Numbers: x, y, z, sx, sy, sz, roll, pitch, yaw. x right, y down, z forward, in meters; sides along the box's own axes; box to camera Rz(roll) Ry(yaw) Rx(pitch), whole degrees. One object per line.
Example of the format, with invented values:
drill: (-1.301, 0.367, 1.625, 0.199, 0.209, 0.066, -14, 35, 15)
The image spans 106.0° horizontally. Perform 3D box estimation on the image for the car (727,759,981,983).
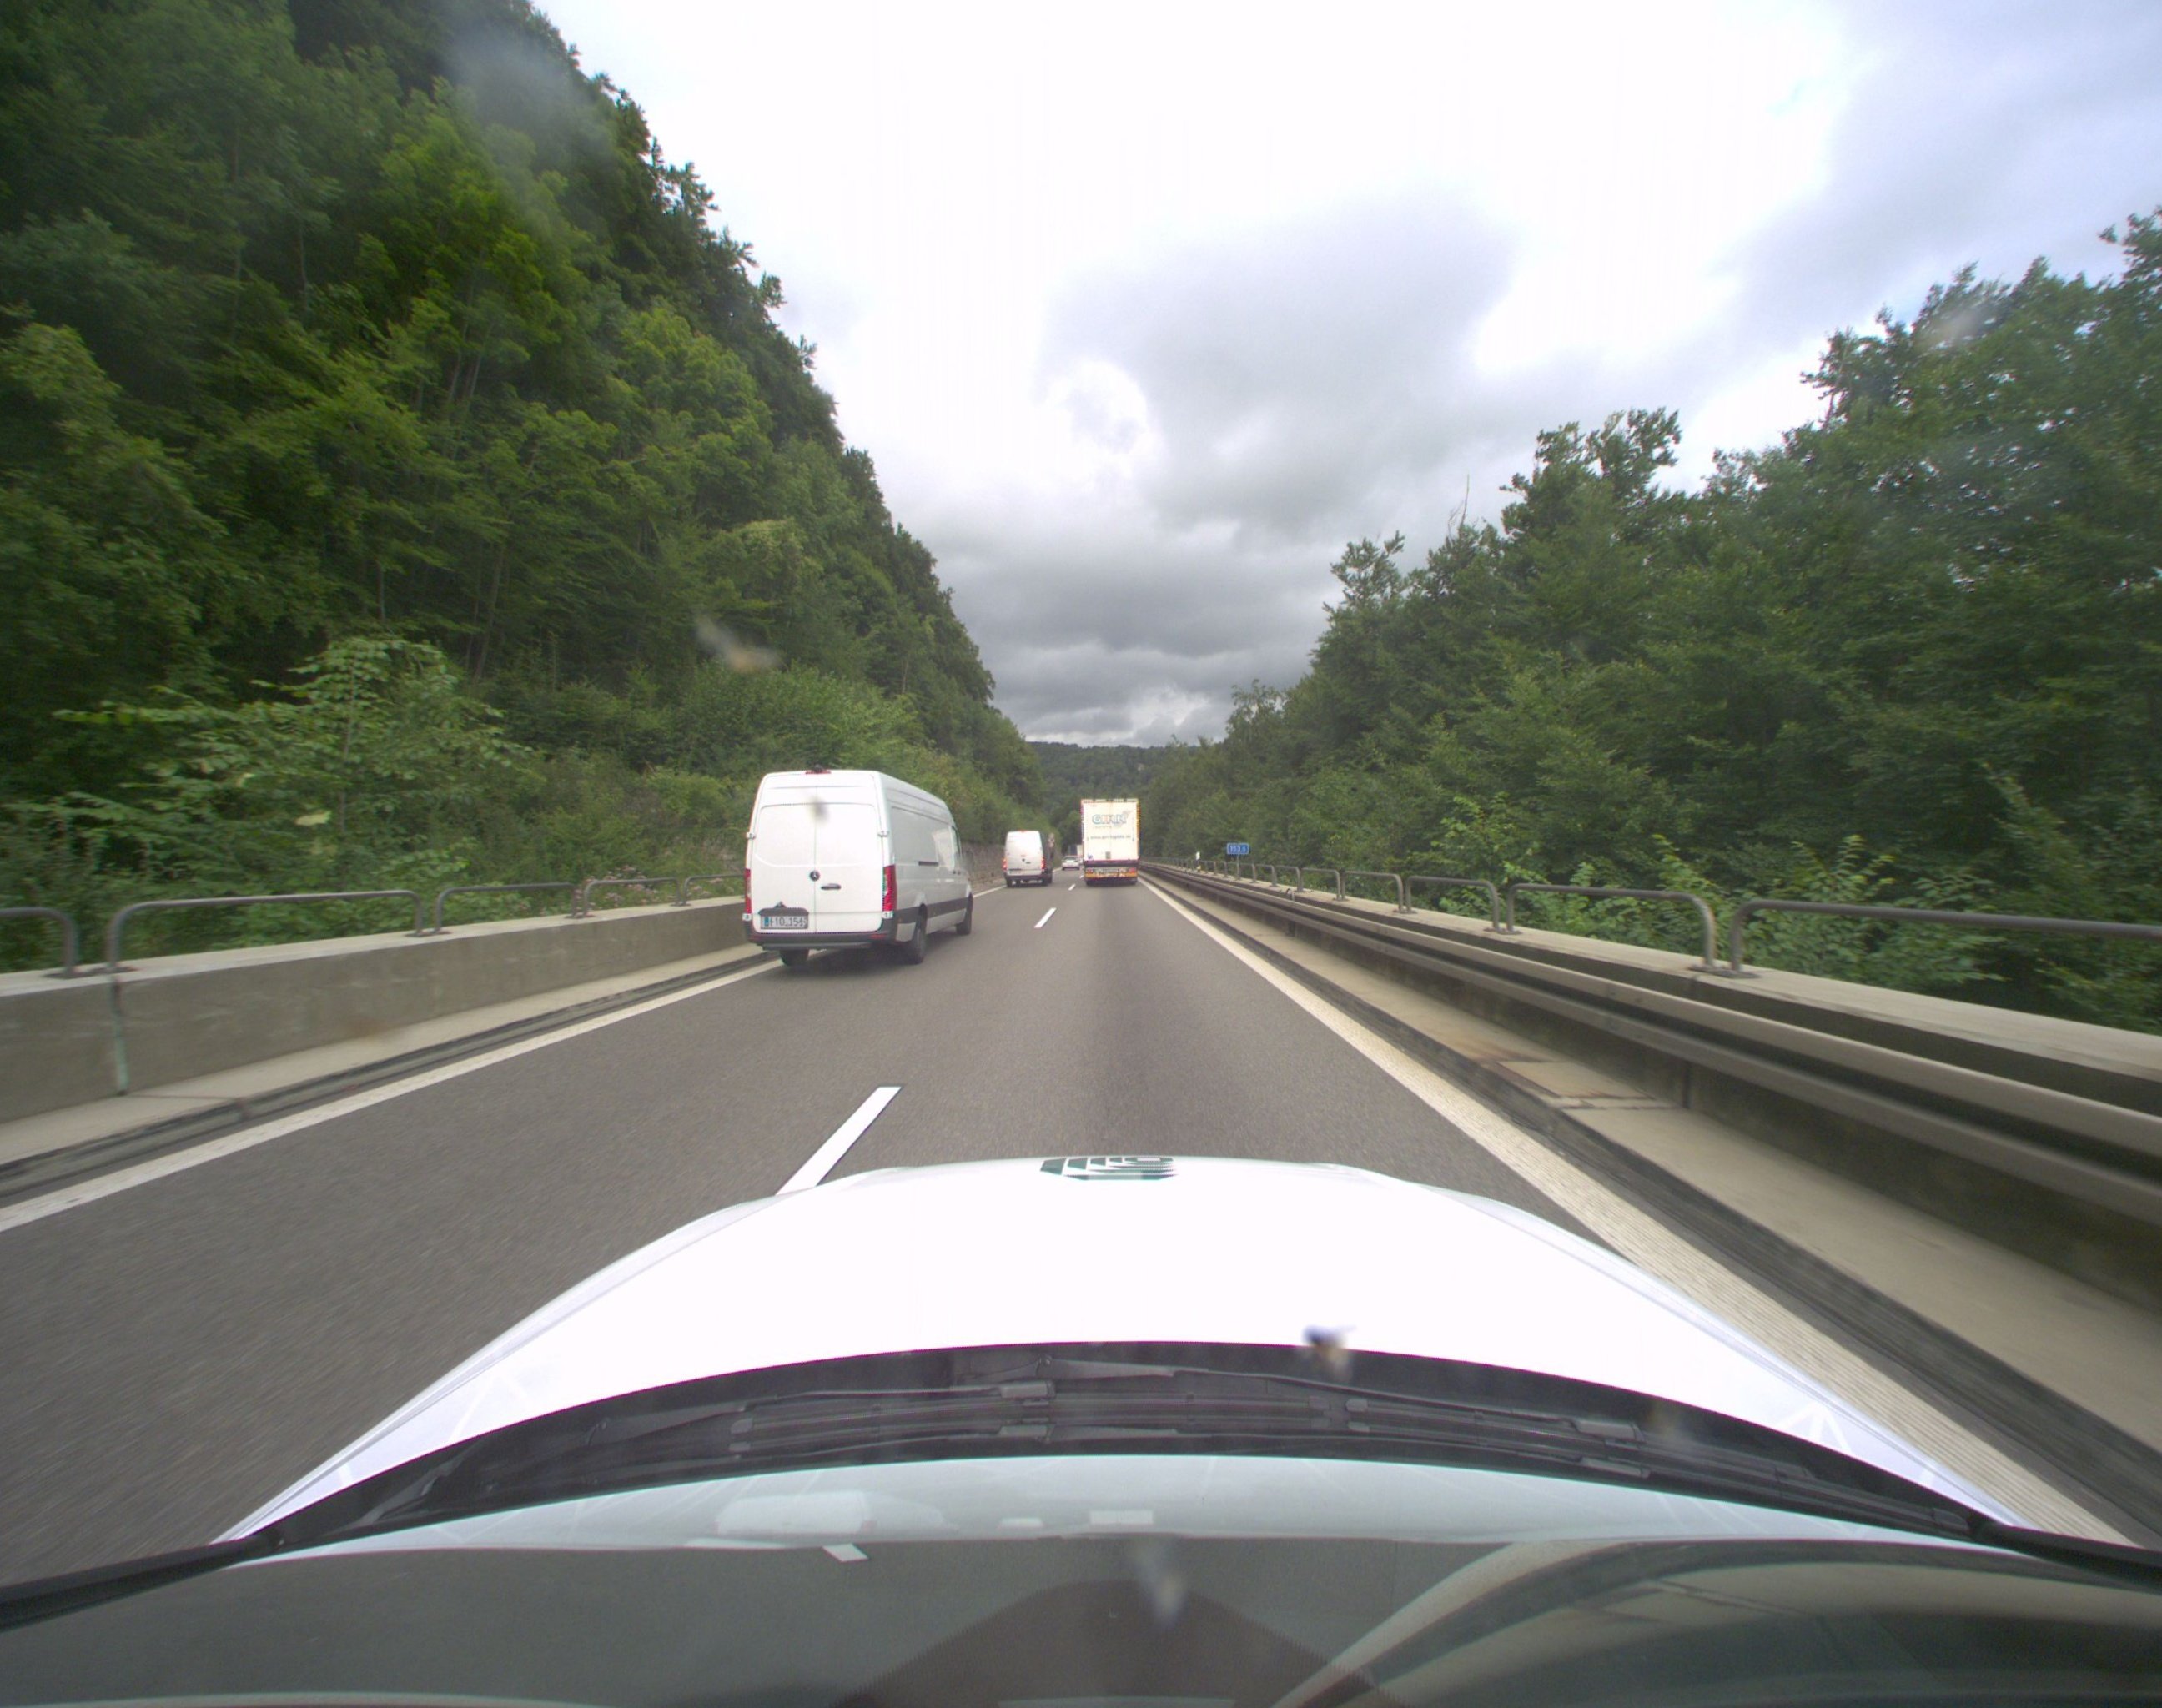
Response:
car: (-3.190, 0.199, 13.364, 1.981, 2.672, 6.938, -1, 0, 2)

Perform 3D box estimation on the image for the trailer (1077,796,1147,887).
trailer: (1.559, -0.699, 42.003, 3.046, 3.986, 12.142, -1, 1, 2)

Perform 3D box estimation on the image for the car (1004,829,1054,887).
car: (-2.515, 0.174, 40.805, 1.933, 2.672, 5.992, -1, 0, 1)

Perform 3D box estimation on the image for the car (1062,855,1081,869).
car: (-0.975, 0.824, 83.529, 1.725, 1.421, 4.002, 0, 0, 2)

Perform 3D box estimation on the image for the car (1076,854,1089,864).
car: (0.269, 0.717, 119.243, 1.725, 1.421, 4.002, 0, 0, 2)
